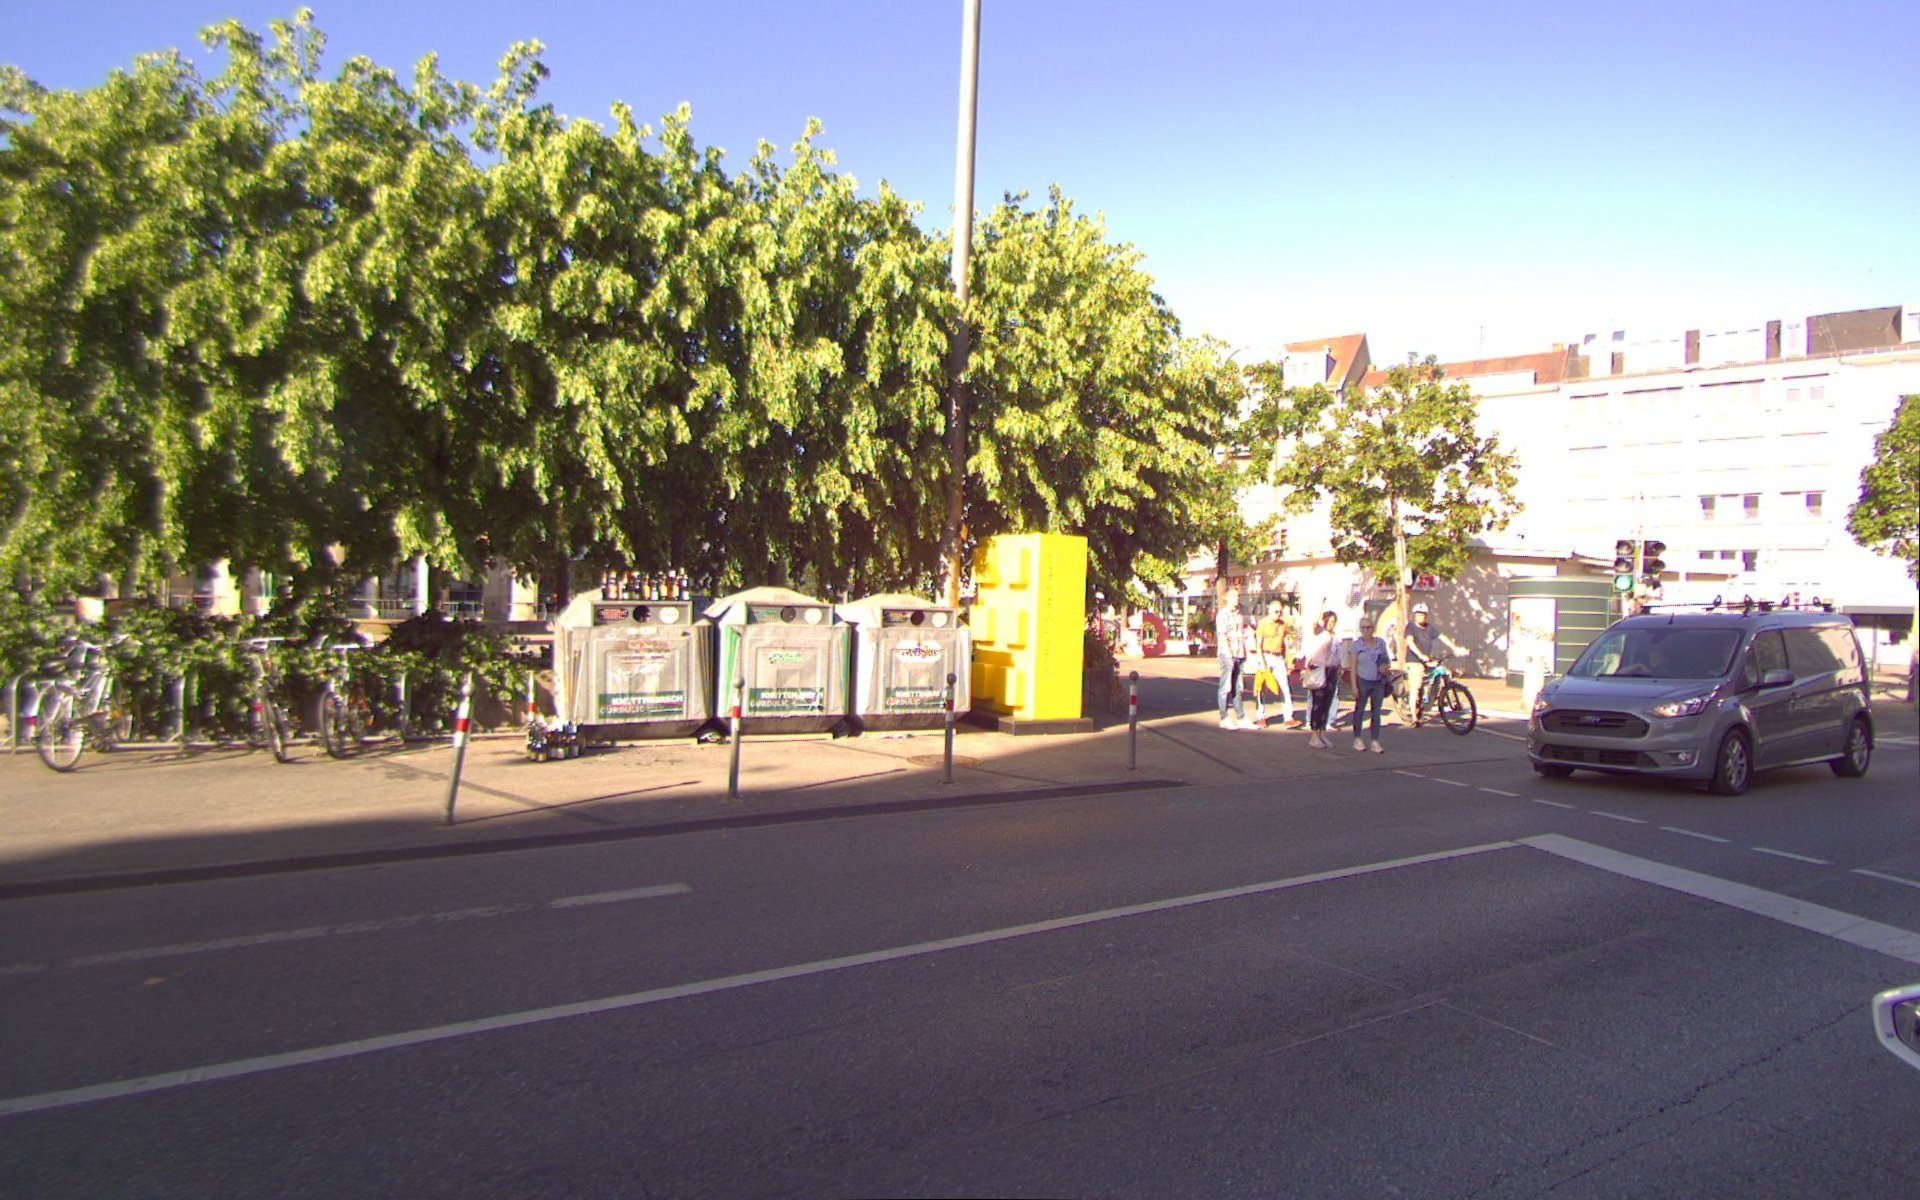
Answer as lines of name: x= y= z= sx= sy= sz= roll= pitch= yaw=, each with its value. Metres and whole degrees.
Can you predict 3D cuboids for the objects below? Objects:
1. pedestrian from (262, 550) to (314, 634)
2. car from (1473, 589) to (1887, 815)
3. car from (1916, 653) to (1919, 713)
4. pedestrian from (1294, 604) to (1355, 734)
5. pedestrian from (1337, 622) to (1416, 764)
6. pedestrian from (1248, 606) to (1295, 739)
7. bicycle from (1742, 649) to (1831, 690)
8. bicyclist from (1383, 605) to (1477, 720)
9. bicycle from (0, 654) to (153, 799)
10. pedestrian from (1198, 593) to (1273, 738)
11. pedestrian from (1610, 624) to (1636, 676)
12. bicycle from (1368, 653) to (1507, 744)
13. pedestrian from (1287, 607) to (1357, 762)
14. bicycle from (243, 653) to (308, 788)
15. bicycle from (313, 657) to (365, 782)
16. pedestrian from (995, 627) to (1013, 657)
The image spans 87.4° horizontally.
pedestrian: x=-24.935 y=-0.263 z=37.327 sx=1.514 sy=3.017 sz=1.732 roll=1 pitch=-1 yaw=-33
car: x=7.886 y=0.991 z=10.901 sx=4.730 sy=1.972 sz=1.983 roll=2 pitch=-3 yaw=-32
car: x=18.557 y=1.623 z=17.409 sx=4.205 sy=1.442 sz=1.741 roll=2 pitch=-4 yaw=-30
pedestrian: x=5.311 y=0.984 z=14.684 sx=0.768 sy=1.836 sz=0.589 roll=1 pitch=0 yaw=17
pedestrian: x=5.201 y=1.139 z=12.579 sx=0.683 sy=1.696 sz=0.688 roll=1 pitch=0 yaw=1
pedestrian: x=4.445 y=1.009 z=14.349 sx=0.577 sy=1.836 sz=0.784 roll=1 pitch=0 yaw=16
bicycle: x=25.293 y=2.100 z=30.772 sx=0.744 sy=1.102 sz=1.980 roll=2 pitch=0 yaw=-28
bicyclist: x=7.074 y=0.927 z=15.156 sx=0.976 sy=1.670 sz=0.804 roll=2 pitch=0 yaw=-9
bicycle: x=-7.465 y=1.017 z=8.526 sx=0.358 sy=1.044 sz=1.527 roll=1 pitch=-1 yaw=-15
pedestrian: x=3.824 y=0.892 z=13.950 sx=0.774 sy=1.943 sz=0.605 roll=1 pitch=0 yaw=-29
pedestrian: x=22.348 y=1.683 z=33.836 sx=0.604 sy=1.732 sz=0.516 roll=2 pitch=-1 yaw=-31
bicycle: x=7.120 y=1.437 z=15.123 sx=0.750 sy=1.086 sz=2.172 roll=2 pitch=2 yaw=-9
pedestrian: x=4.535 y=1.039 z=12.618 sx=0.612 sy=1.882 sz=0.652 roll=1 pitch=0 yaw=1
bicycle: x=-6.176 y=1.044 z=9.100 sx=0.360 sy=1.045 sz=1.538 roll=1 pitch=-1 yaw=-30
bicycle: x=-5.864 y=1.085 z=9.517 sx=0.360 sy=1.015 sz=1.548 roll=1 pitch=-1 yaw=-30
pedestrian: x=2.447 y=2.337 z=56.280 sx=0.863 sy=1.606 sz=1.158 roll=1 pitch=-1 yaw=-5
